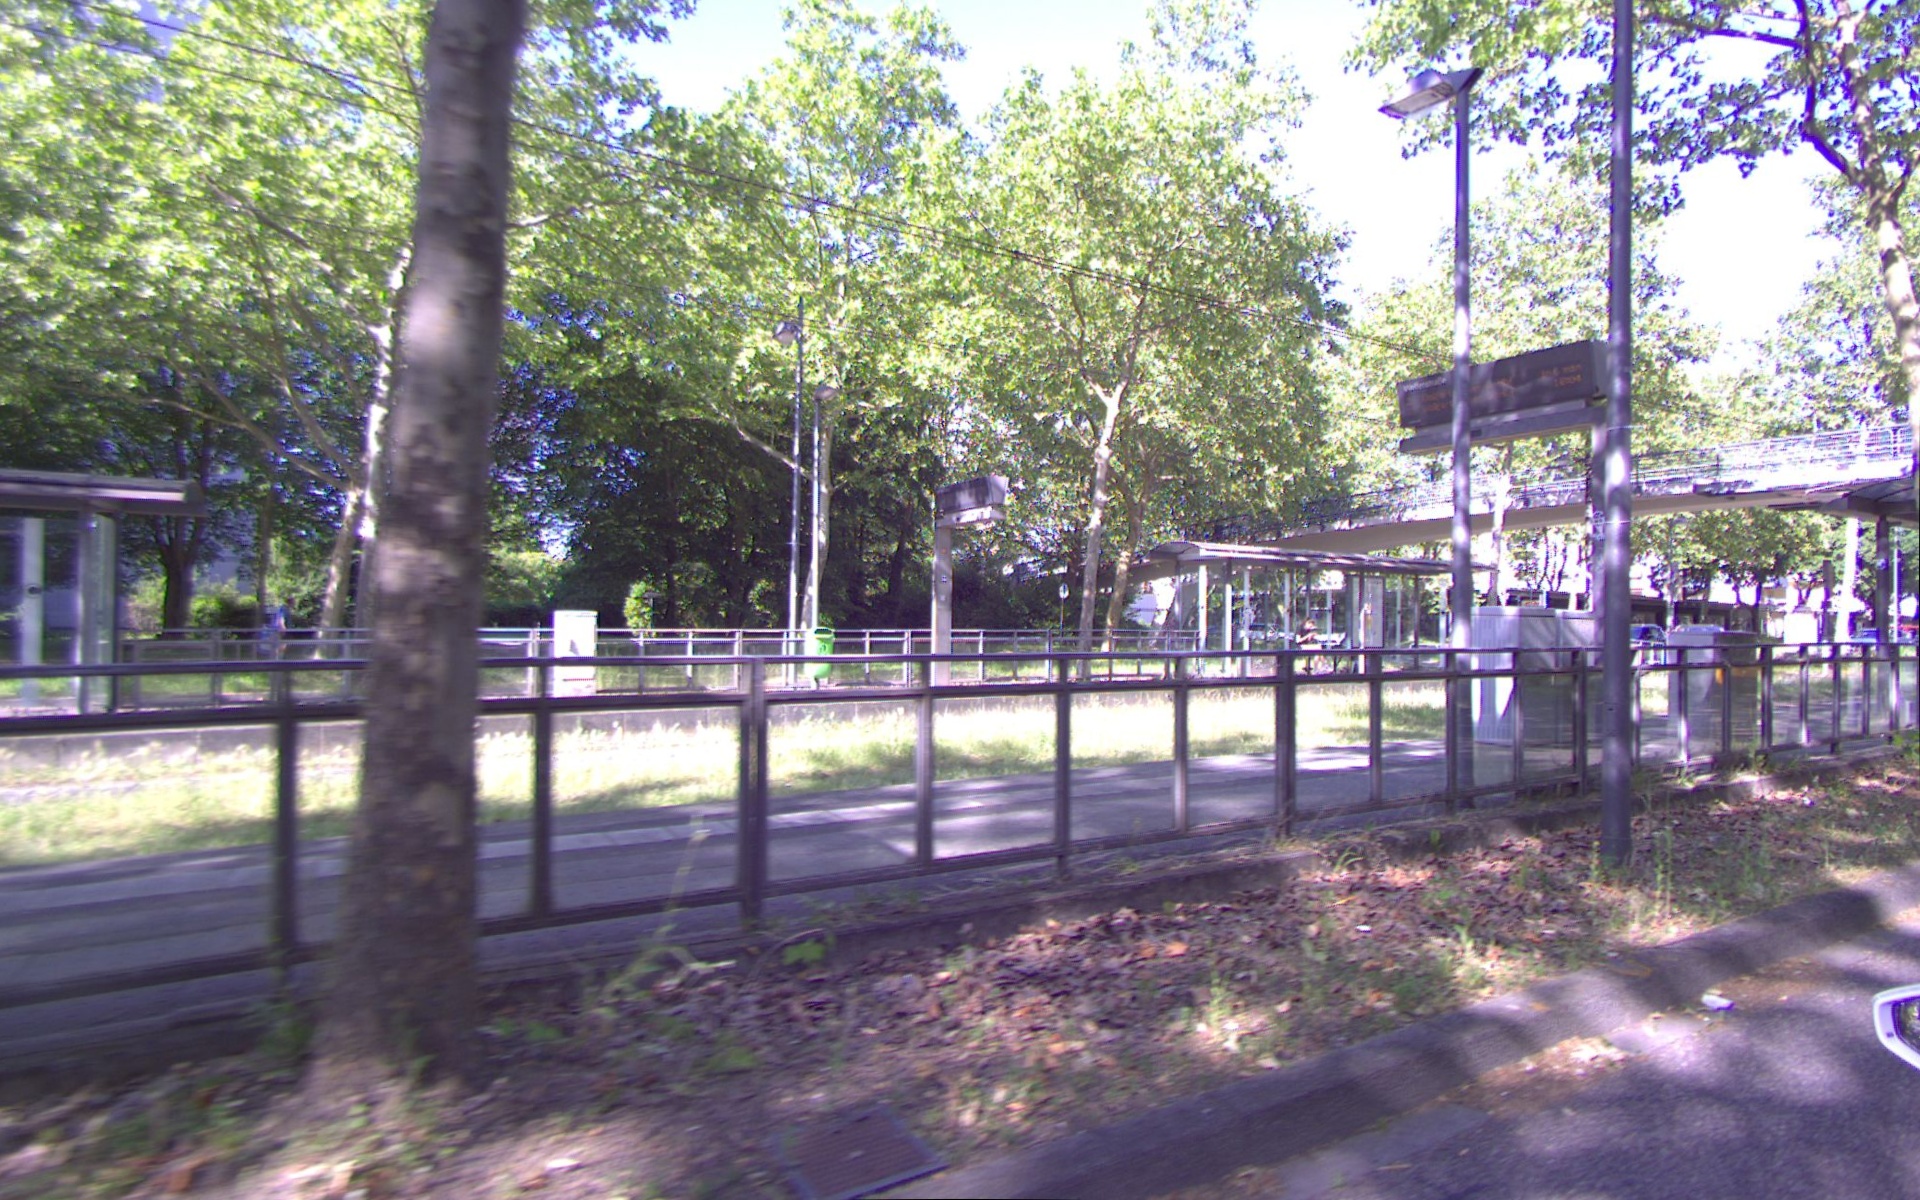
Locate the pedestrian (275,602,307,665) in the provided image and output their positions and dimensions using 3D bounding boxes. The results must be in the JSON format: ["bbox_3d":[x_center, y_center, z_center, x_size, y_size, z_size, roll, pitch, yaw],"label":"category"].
[{"bbox_3d":[-18.097,0.906,27.178,0.642,1.683,0.645,1,0,-30],"label":"pedestrian"}]

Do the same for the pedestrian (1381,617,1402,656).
[{"bbox_3d":[19.676,1.654,45.768,0.638,1.728,0.649,0,-1,-10],"label":"pedestrian"}]

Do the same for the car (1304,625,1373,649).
[{"bbox_3d":[24.920,2.422,66.222,1.783,1.530,3.959,1,-1,-36],"label":"car"}]

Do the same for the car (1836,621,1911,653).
[{"bbox_3d":[47.725,1.908,52.485,4.239,1.601,1.785,1,-1,-31],"label":"car"}]

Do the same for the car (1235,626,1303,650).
[{"bbox_3d":[20.271,2.459,65.950,1.784,1.530,4.044,1,-1,-37],"label":"car"}]

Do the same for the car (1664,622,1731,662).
[{"bbox_3d":[30.995,1.716,42.320,1.768,1.587,4.280,0,-1,29],"label":"car"}]

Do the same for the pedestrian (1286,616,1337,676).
[{"bbox_3d":[7.617,0.981,21.762,0.714,1.254,0.773,1,-1,-32],"label":"pedestrian"}]

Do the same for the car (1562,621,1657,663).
[{"bbox_3d":[26.076,1.650,40.304,4.245,1.587,1.782,1,-1,-35],"label":"car"}]
